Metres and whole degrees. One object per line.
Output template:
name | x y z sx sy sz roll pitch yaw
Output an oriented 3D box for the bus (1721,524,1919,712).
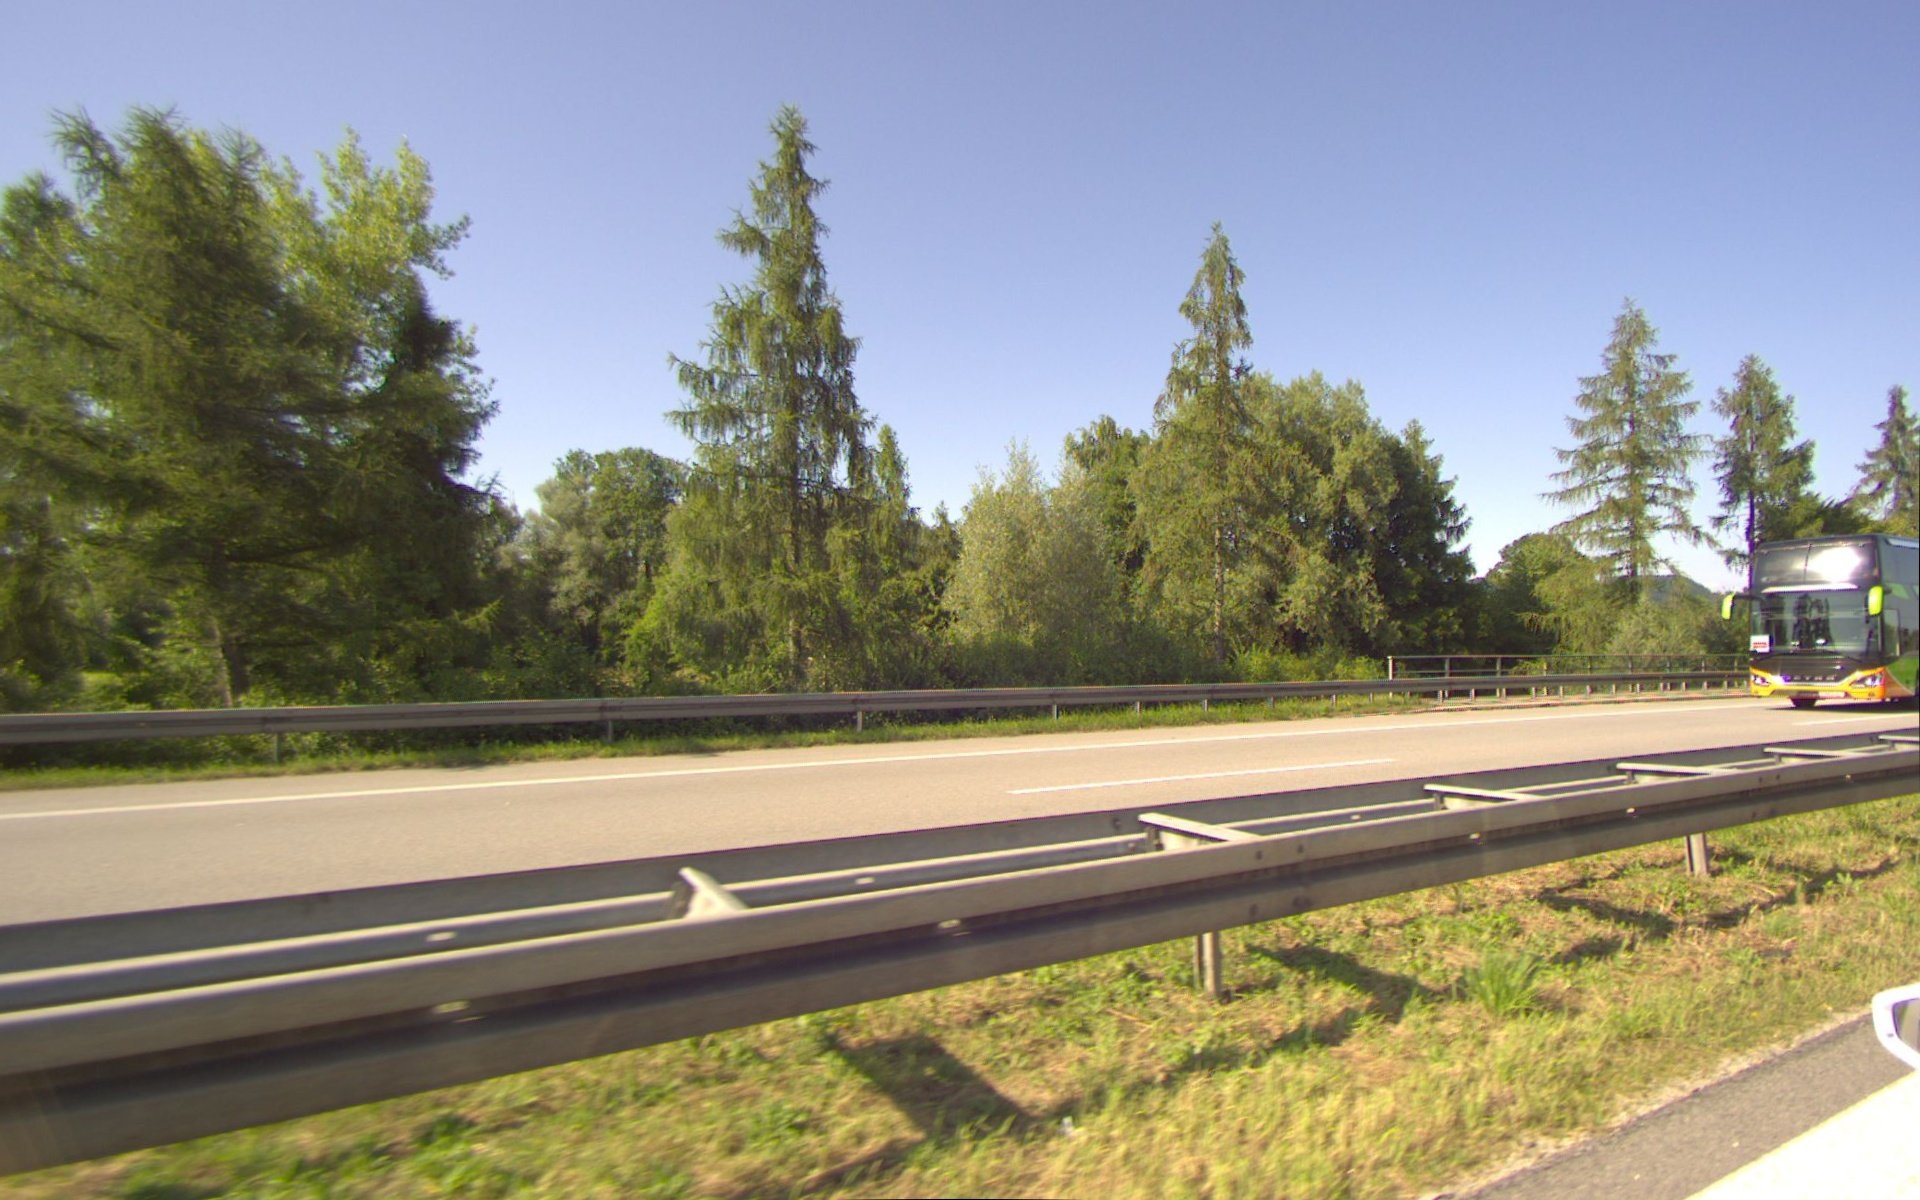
bus | 25.490 0.603 26.809 14.497 4.107 2.923 1 -3 -31
